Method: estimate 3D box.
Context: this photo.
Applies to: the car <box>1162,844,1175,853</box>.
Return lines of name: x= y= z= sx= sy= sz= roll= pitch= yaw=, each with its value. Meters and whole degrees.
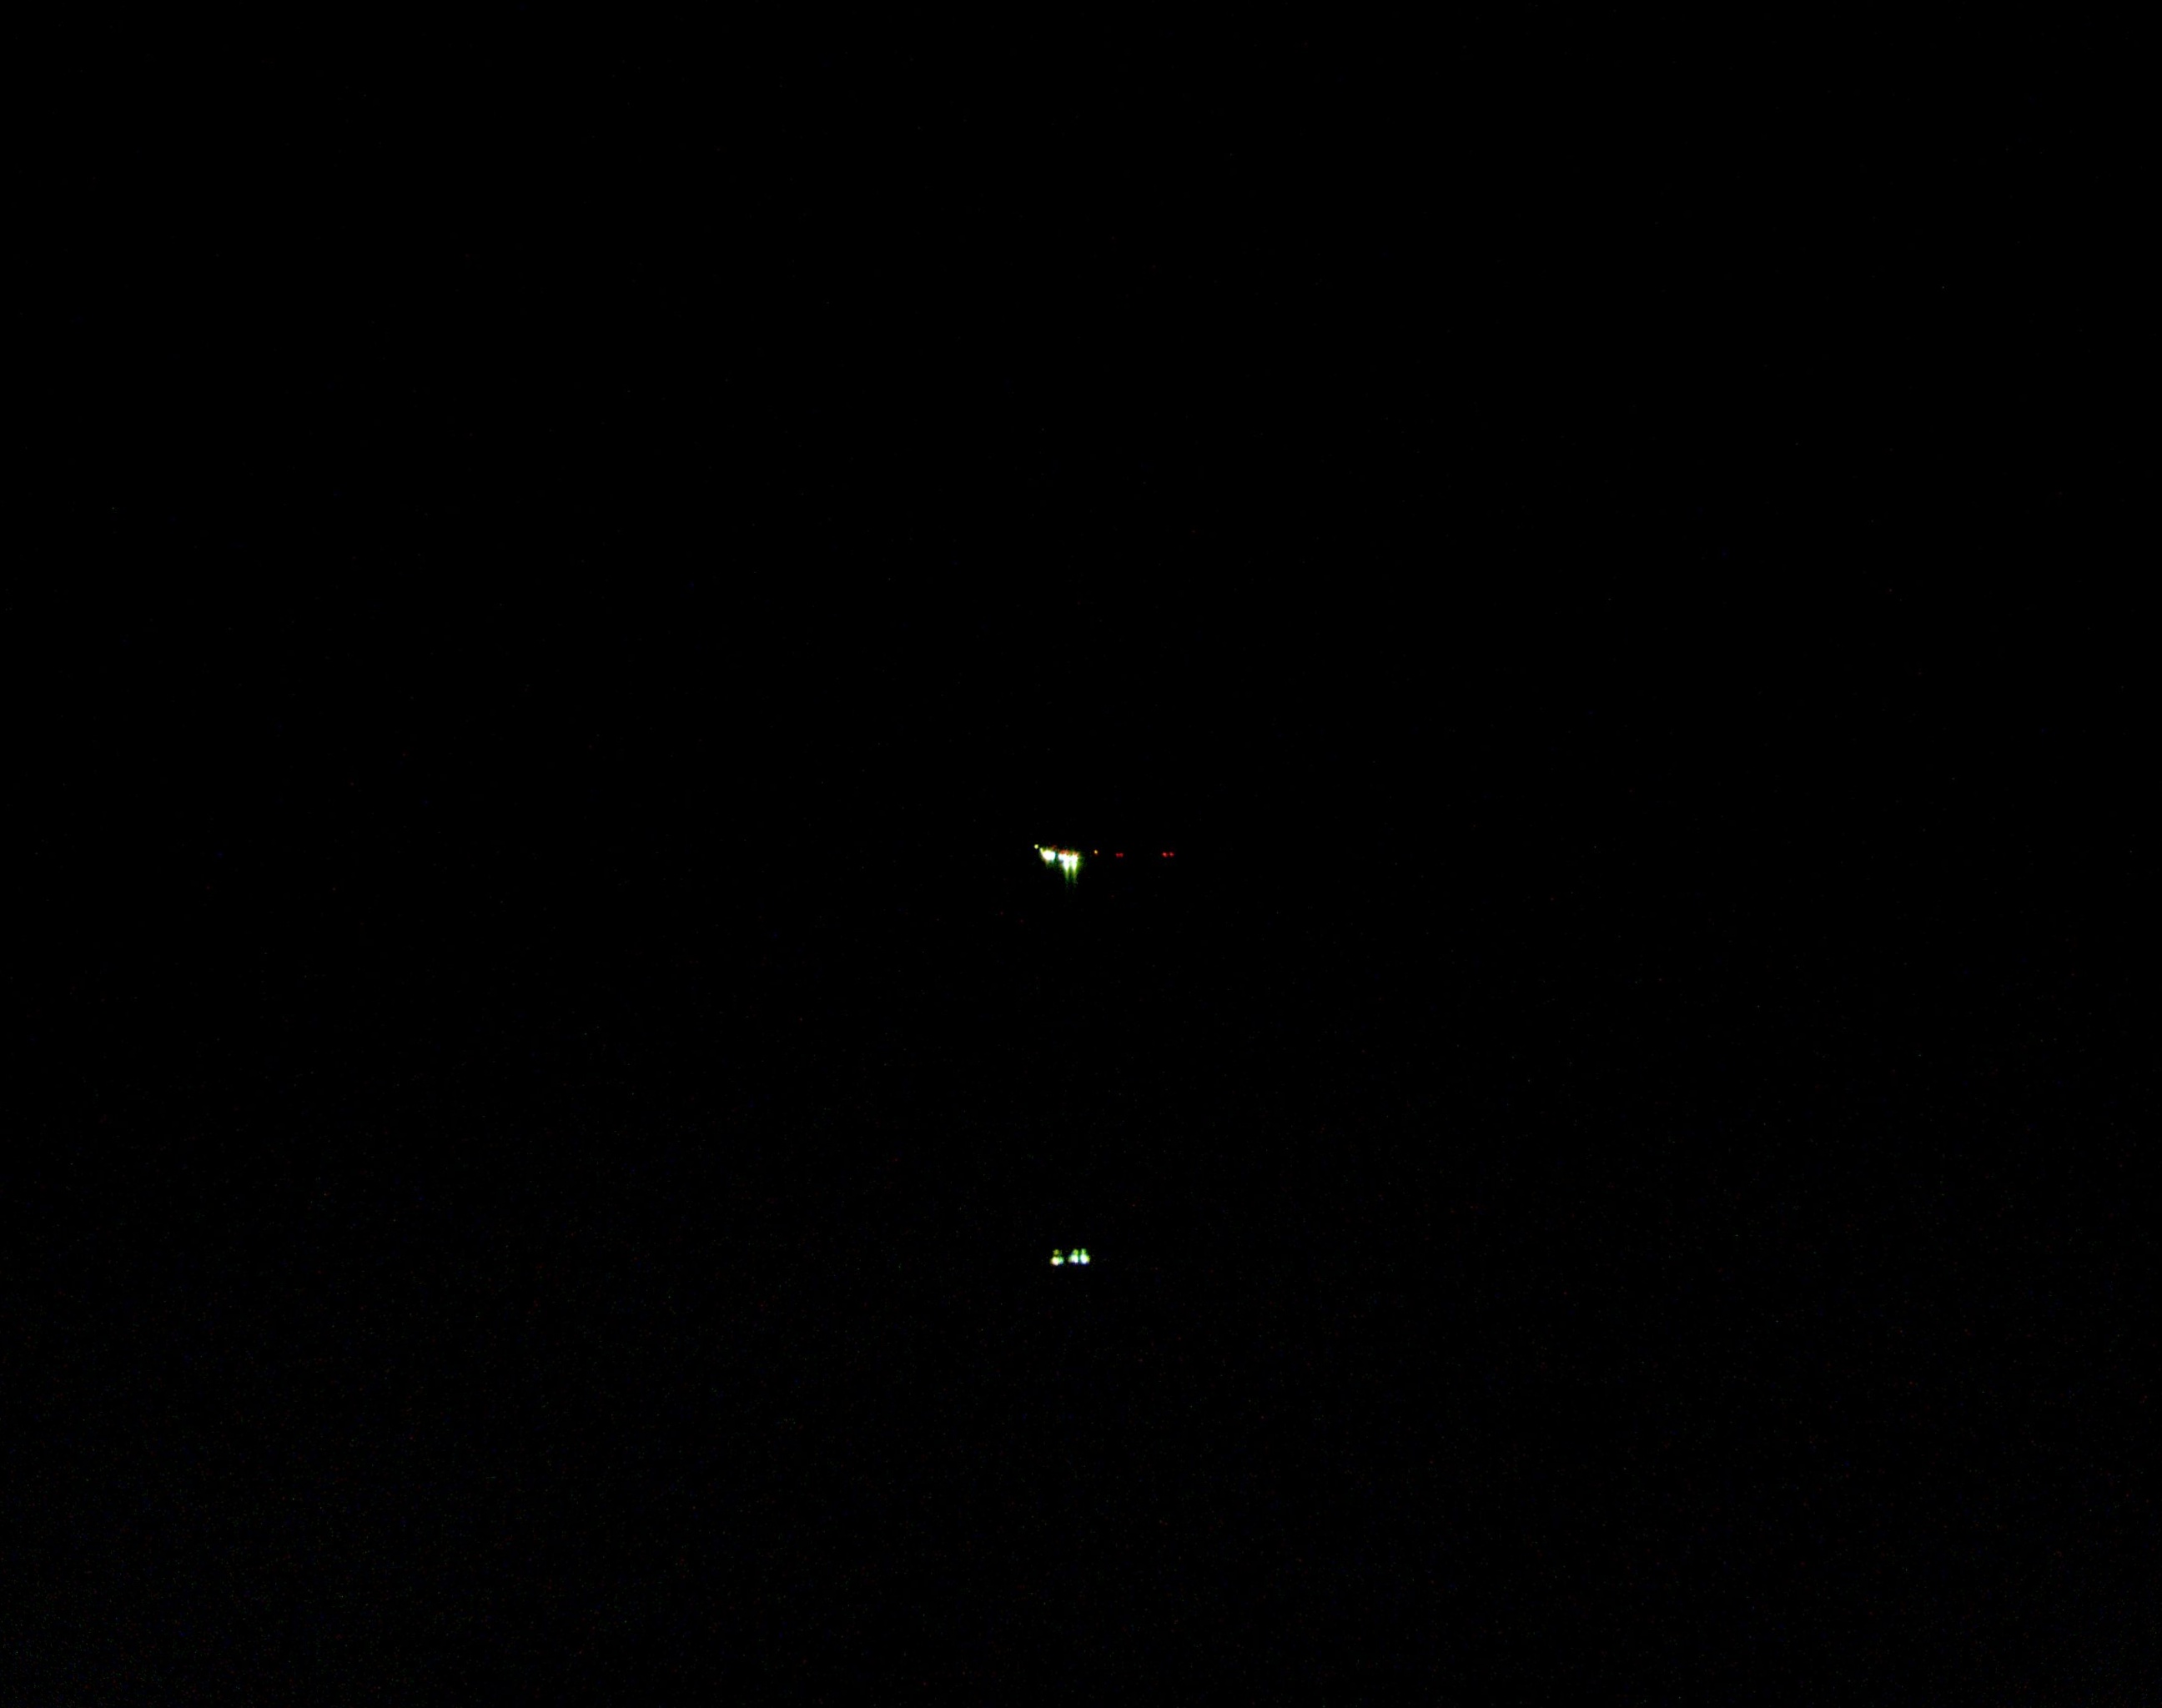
car: x=19.956 y=-1.343 z=173.612 sx=2.032 sy=2.002 sz=5.185 roll=-2 pitch=1 yaw=-3

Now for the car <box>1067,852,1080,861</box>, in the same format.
car: x=-1.420 y=0.410 z=135.536 sx=2.154 sy=1.558 sz=4.580 roll=-2 pitch=1 yaw=-2
